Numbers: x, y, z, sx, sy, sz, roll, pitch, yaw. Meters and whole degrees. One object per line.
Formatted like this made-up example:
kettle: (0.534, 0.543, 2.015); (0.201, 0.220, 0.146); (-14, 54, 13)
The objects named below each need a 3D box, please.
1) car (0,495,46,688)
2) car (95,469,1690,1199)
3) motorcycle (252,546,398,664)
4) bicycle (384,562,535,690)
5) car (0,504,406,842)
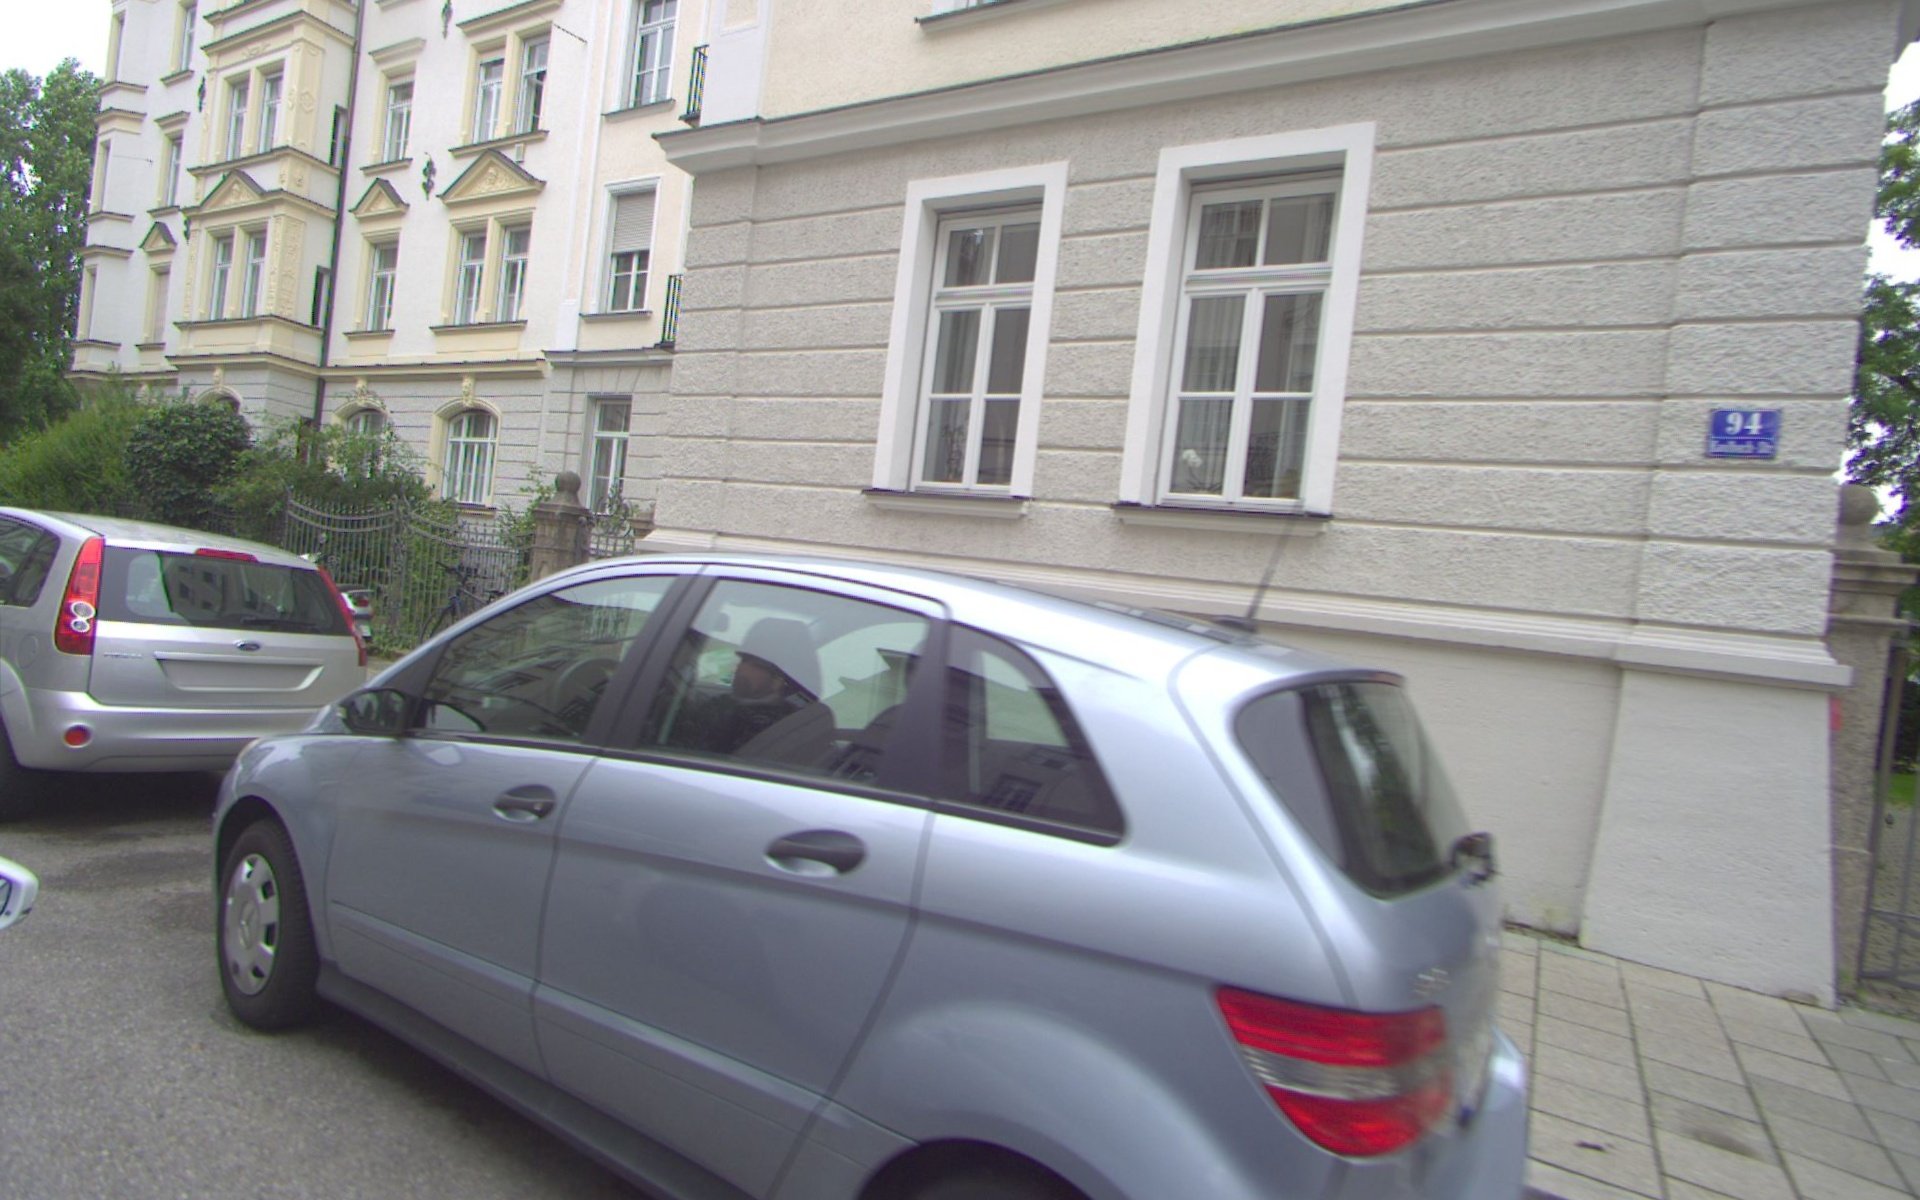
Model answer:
car: (-9.627, -0.322, 8.392); (3.997, 1.522, 1.788); (7, -1, 31)
car: (-0.600, 0.661, 3.085); (4.328, 1.586, 1.826); (7, -3, 33)
motorcycle: (-7.311, 0.042, 11.546); (1.933, 1.126, 0.607); (6, 0, 34)
bicycle: (-5.347, 0.255, 10.702); (1.850, 1.139, 0.434); (7, 0, 32)
car: (-5.078, 0.226, 5.765); (3.394, 1.423, 1.757); (7, -1, 31)
